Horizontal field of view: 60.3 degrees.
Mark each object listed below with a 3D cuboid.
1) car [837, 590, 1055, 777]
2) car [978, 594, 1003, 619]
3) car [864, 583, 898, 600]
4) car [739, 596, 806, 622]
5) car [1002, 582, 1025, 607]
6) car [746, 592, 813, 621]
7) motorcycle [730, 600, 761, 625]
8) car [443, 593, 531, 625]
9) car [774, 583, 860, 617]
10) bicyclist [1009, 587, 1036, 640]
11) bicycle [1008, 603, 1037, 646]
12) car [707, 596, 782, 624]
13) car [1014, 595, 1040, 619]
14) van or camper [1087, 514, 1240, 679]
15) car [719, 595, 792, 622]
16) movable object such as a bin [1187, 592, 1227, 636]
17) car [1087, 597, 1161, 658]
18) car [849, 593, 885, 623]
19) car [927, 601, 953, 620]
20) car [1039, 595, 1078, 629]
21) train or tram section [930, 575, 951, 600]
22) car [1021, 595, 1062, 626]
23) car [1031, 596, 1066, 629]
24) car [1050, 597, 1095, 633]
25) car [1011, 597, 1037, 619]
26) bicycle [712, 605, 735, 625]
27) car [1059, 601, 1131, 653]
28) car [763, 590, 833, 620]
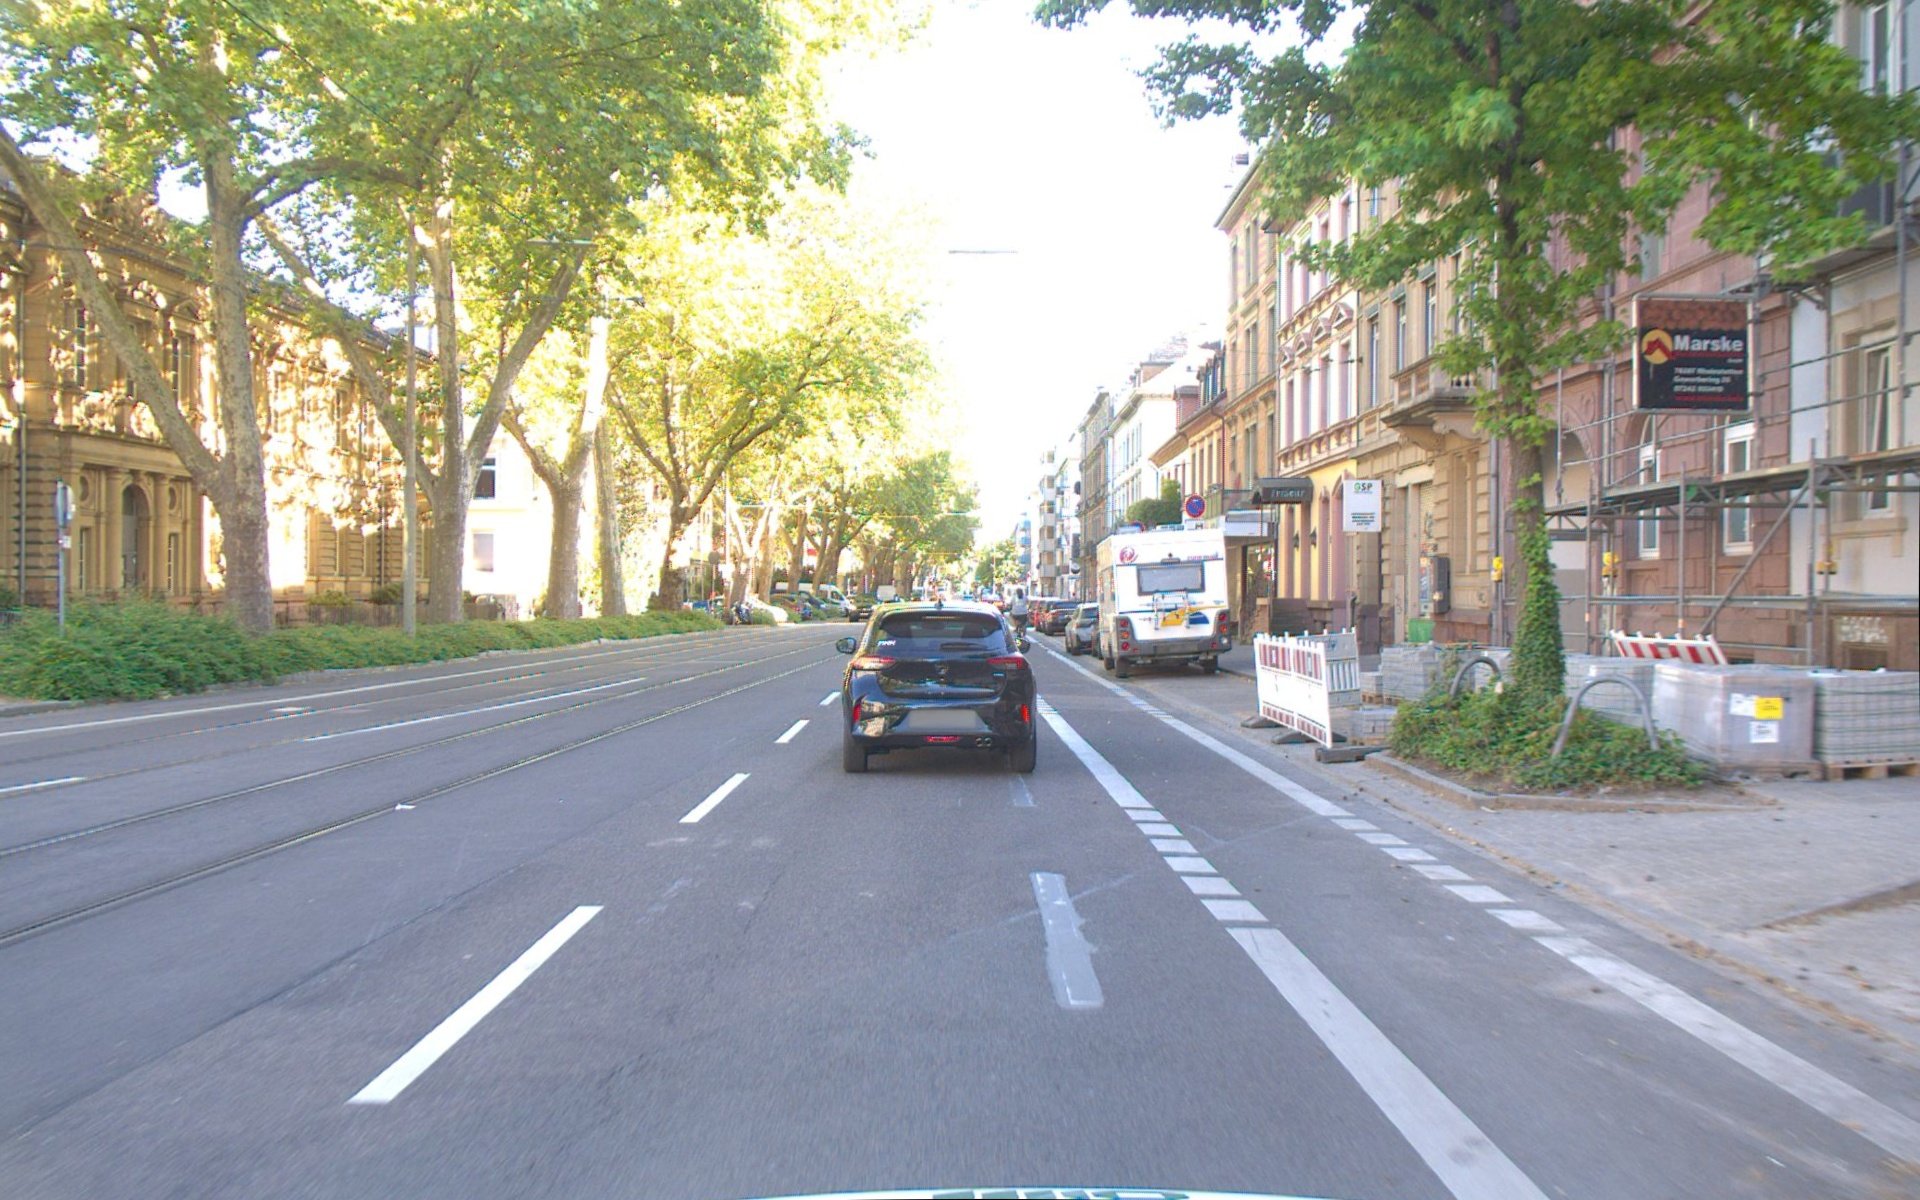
[{"bbox_3d":[-0.101,0.671,15.255,1.757,1.466,3.531,1,1,0],"label":"car"},{"bbox_3d":[2.188,0.453,117.617,1.772,1.773,3.934,0,0,2],"label":"car"},{"bbox_3d":[-9.162,-0.983,191.985,3.841,1.821,1.676,2,0,-2],"label":"car"},{"bbox_3d":[-11.500,0.541,101.409,3.839,1.467,1.749,2,0,1],"label":"car"},{"bbox_3d":[5.129,-0.544,158.212,2.033,2.257,4.934,-3,0,2],"label":"car"},{"bbox_3d":[-11.286,0.417,103.575,3.913,1.655,1.879,2,0,0],"label":"car"},{"bbox_3d":[-10.571,0.607,81.537,0.865,1.167,2.392,1,0,8],"label":"motorcycle"},{"bbox_3d":[-22.677,0.426,79.342,3.698,1.443,1.695,0,3,1],"label":"car"},{"bbox_3d":[-11.250,-0.002,130.508,6.491,2.451,2.458,2,0,1],"label":"car"},{"bbox_3d":[2.114,0.443,56.277,0.831,1.770,1.162,1,0,-1],"label":"bicyclist"},{"bbox_3d":[2.118,0.810,56.232,0.843,1.431,2.524,1,0,-1],"label":"bicycle"},{"bbox_3d":[-11.686,0.555,89.932,3.841,1.478,1.800,1,0,0],"label":"car"},{"bbox_3d":[4.700,0.493,115.557,1.536,1.544,3.039,-3,0,-2],"label":"car"},{"bbox_3d":[4.197,-0.061,35.597,2.426,3.024,7.885,-3,0,2],"label":"van or camper"},{"bbox_3d":[-11.436,0.484,92.775,3.839,1.488,1.806,0,0,1],"label":"car"},{"bbox_3d":[8.915,0.509,59.778,1.267,1.547,1.286,1,0,0],"label":"movable object such as a bin"},{"bbox_3d":[4.326,0.702,44.062,1.611,1.459,4.030,-3,0,2],"label":"car"},{"bbox_3d":[-5.435,0.452,97.055,1.828,1.658,4.560,0,1,0],"label":"car"},{"bbox_3d":[-1.405,0.737,117.200,1.773,1.362,3.932,1,0,0],"label":"car"},{"bbox_3d":[4.480,0.550,75.627,1.617,1.482,3.868,-1,0,1],"label":"car"},{"bbox_3d":[-2.978,-1.841,257.437,2.678,3.746,12.719,0,0,2],"label":"train or tram section"},{"bbox_3d":[4.470,0.585,91.497,1.843,1.613,3.931,-3,0,-3],"label":"car"},{"bbox_3d":[4.264,0.585,80.277,1.600,1.574,3.576,-1,0,2],"label":"car"},{"bbox_3d":[4.615,0.599,68.239,1.658,1.417,4.495,-1,0,2],"label":"car"},{"bbox_3d":[4.674,0.578,120.610,1.669,1.481,3.699,-3,0,4],"label":"car"},{"bbox_3d":[-11.648,0.737,81.559,0.529,0.957,2.035,1,0,8],"label":"bicycle"},{"bbox_3d":[3.968,0.764,49.203,1.772,1.460,4.665,-1,0,0],"label":"car"},{"bbox_3d":[-11.290,0.358,115.444,4.578,1.957,1.980,2,0,2],"label":"car"}]
